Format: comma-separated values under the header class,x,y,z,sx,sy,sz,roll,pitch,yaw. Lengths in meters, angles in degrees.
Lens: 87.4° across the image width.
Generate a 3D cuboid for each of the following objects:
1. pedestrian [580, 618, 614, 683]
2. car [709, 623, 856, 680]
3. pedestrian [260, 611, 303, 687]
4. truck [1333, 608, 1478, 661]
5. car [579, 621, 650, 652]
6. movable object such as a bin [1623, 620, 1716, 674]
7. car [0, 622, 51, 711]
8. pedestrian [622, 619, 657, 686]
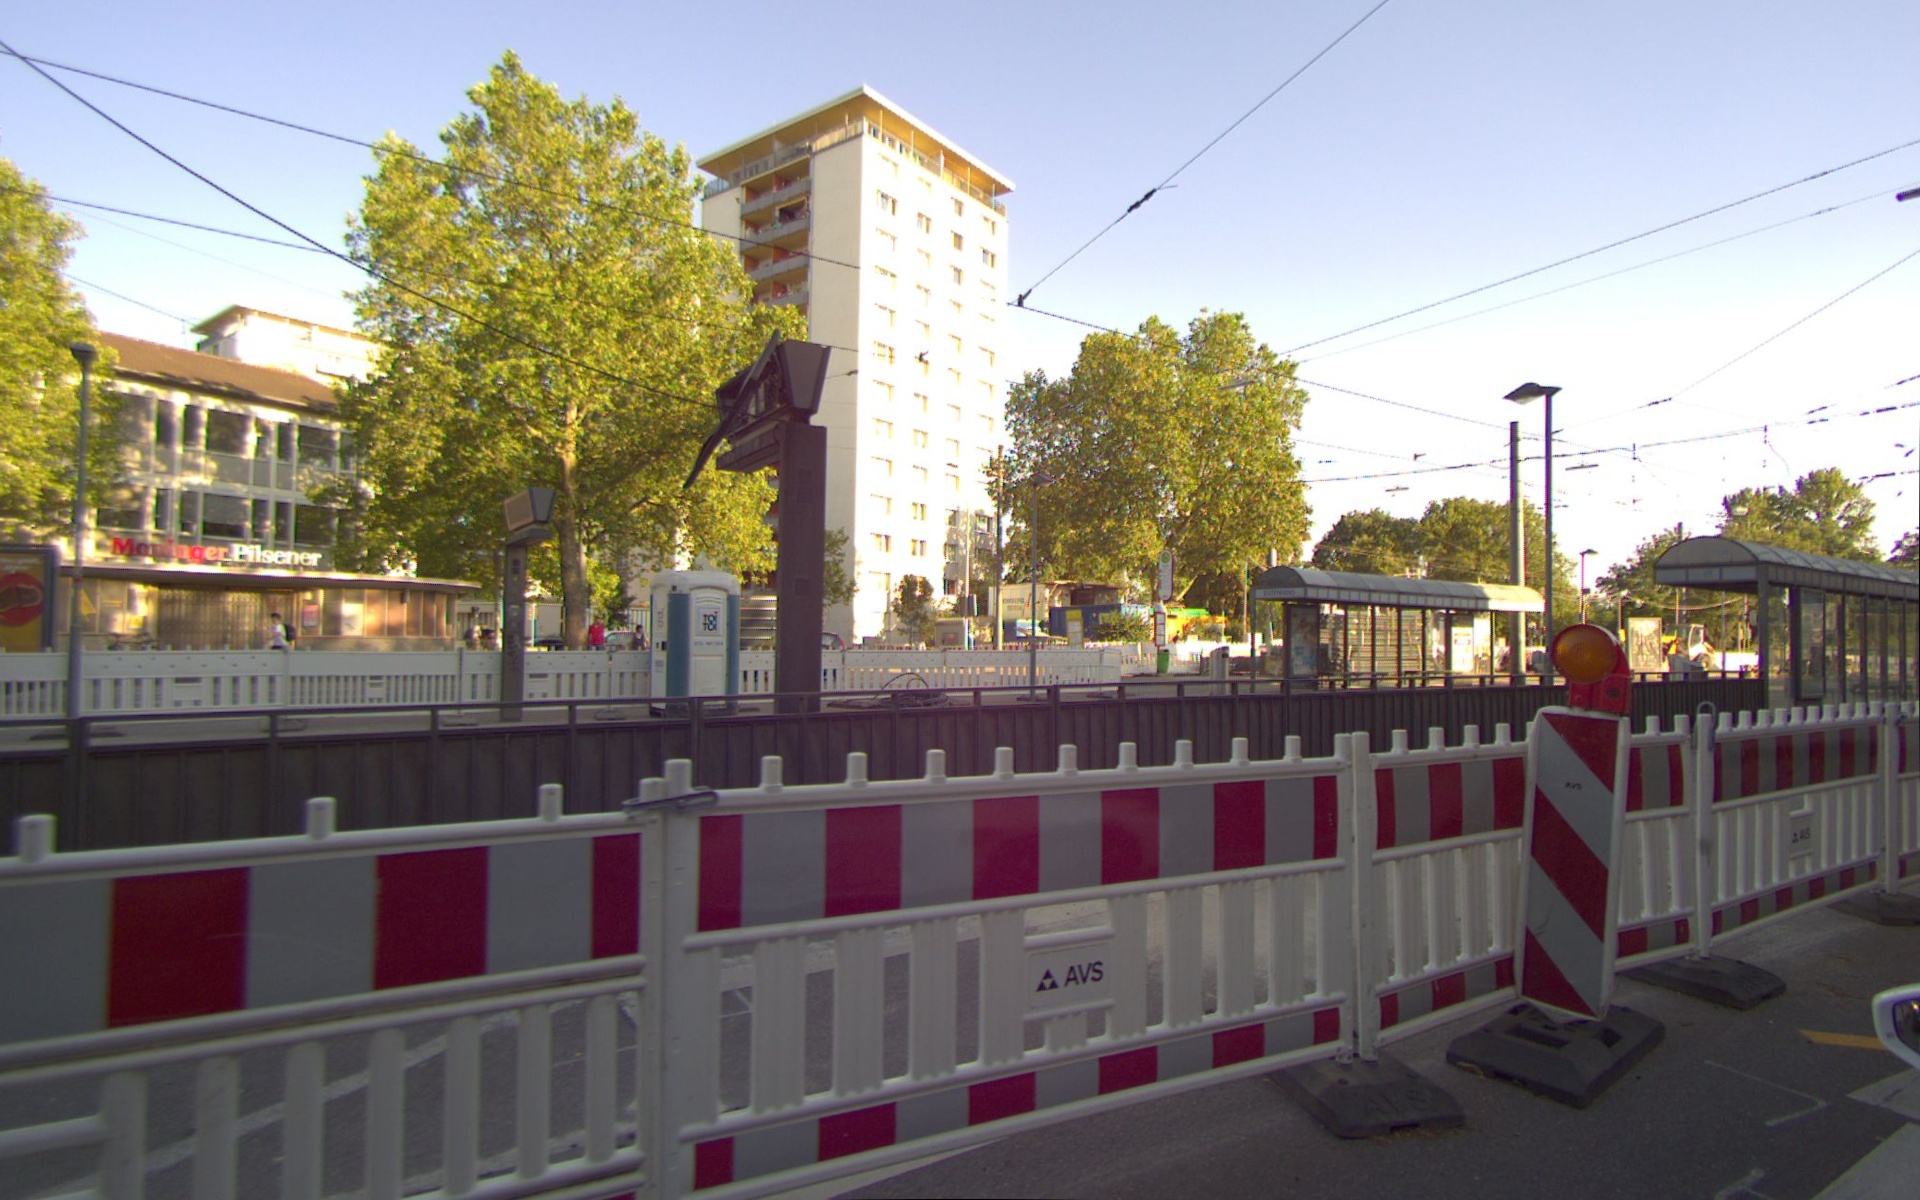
class,x,y,z,sx,sy,sz,roll,pitch,yaw
pedestrian,-11.733,1.619,32.464,0.873,2.040,0.881,1,-2,-28
car,-5.239,1.505,29.843,3.928,1.586,1.795,2,-2,-33
pedestrian,-18.607,1.334,27.544,0.880,2.040,0.874,2,-2,-39
truck,34.569,2.703,78.463,2.873,3.839,10.329,2,-3,-36
car,-23.981,2.542,69.846,1.964,2.040,4.436,0,-2,30
movable object such as a bin,36.485,2.398,51.656,4.543,2.673,2.142,2,-2,-29
car,-17.943,1.105,16.777,3.968,1.505,1.977,2,-2,-40
pedestrian,-9.991,1.630,31.326,0.873,2.040,0.881,1,-2,-28
